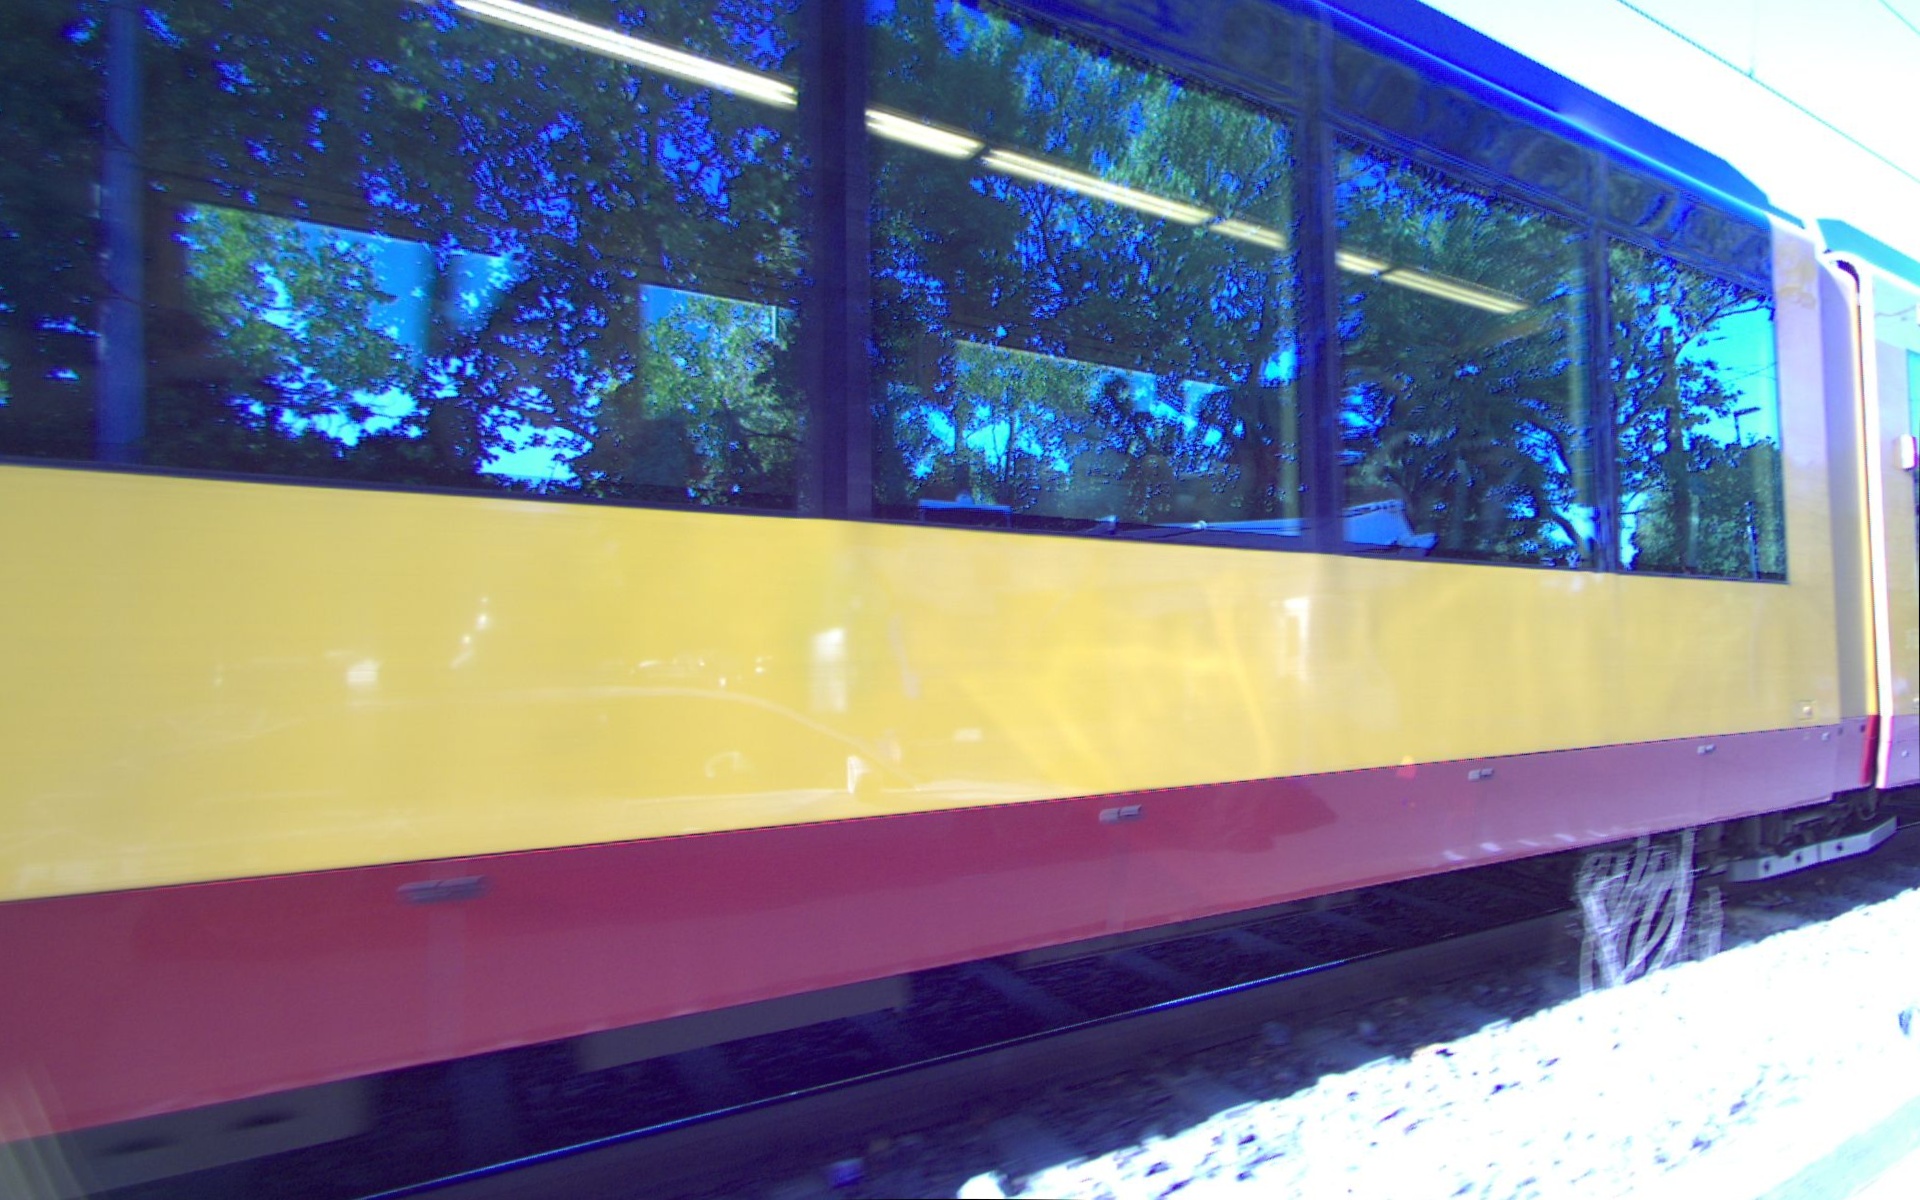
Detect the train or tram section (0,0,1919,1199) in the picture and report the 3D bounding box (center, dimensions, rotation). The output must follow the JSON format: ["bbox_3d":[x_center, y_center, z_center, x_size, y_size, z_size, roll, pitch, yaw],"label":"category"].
[{"bbox_3d":[0.308,-0.544,4.035,9.794,4.142,2.682,1,-2,-30],"label":"train or tram section"}]

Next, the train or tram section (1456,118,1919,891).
[{"bbox_3d":[9.949,-0.364,9.732,12.662,4.142,2.707,1,-2,-31],"label":"train or tram section"}]
